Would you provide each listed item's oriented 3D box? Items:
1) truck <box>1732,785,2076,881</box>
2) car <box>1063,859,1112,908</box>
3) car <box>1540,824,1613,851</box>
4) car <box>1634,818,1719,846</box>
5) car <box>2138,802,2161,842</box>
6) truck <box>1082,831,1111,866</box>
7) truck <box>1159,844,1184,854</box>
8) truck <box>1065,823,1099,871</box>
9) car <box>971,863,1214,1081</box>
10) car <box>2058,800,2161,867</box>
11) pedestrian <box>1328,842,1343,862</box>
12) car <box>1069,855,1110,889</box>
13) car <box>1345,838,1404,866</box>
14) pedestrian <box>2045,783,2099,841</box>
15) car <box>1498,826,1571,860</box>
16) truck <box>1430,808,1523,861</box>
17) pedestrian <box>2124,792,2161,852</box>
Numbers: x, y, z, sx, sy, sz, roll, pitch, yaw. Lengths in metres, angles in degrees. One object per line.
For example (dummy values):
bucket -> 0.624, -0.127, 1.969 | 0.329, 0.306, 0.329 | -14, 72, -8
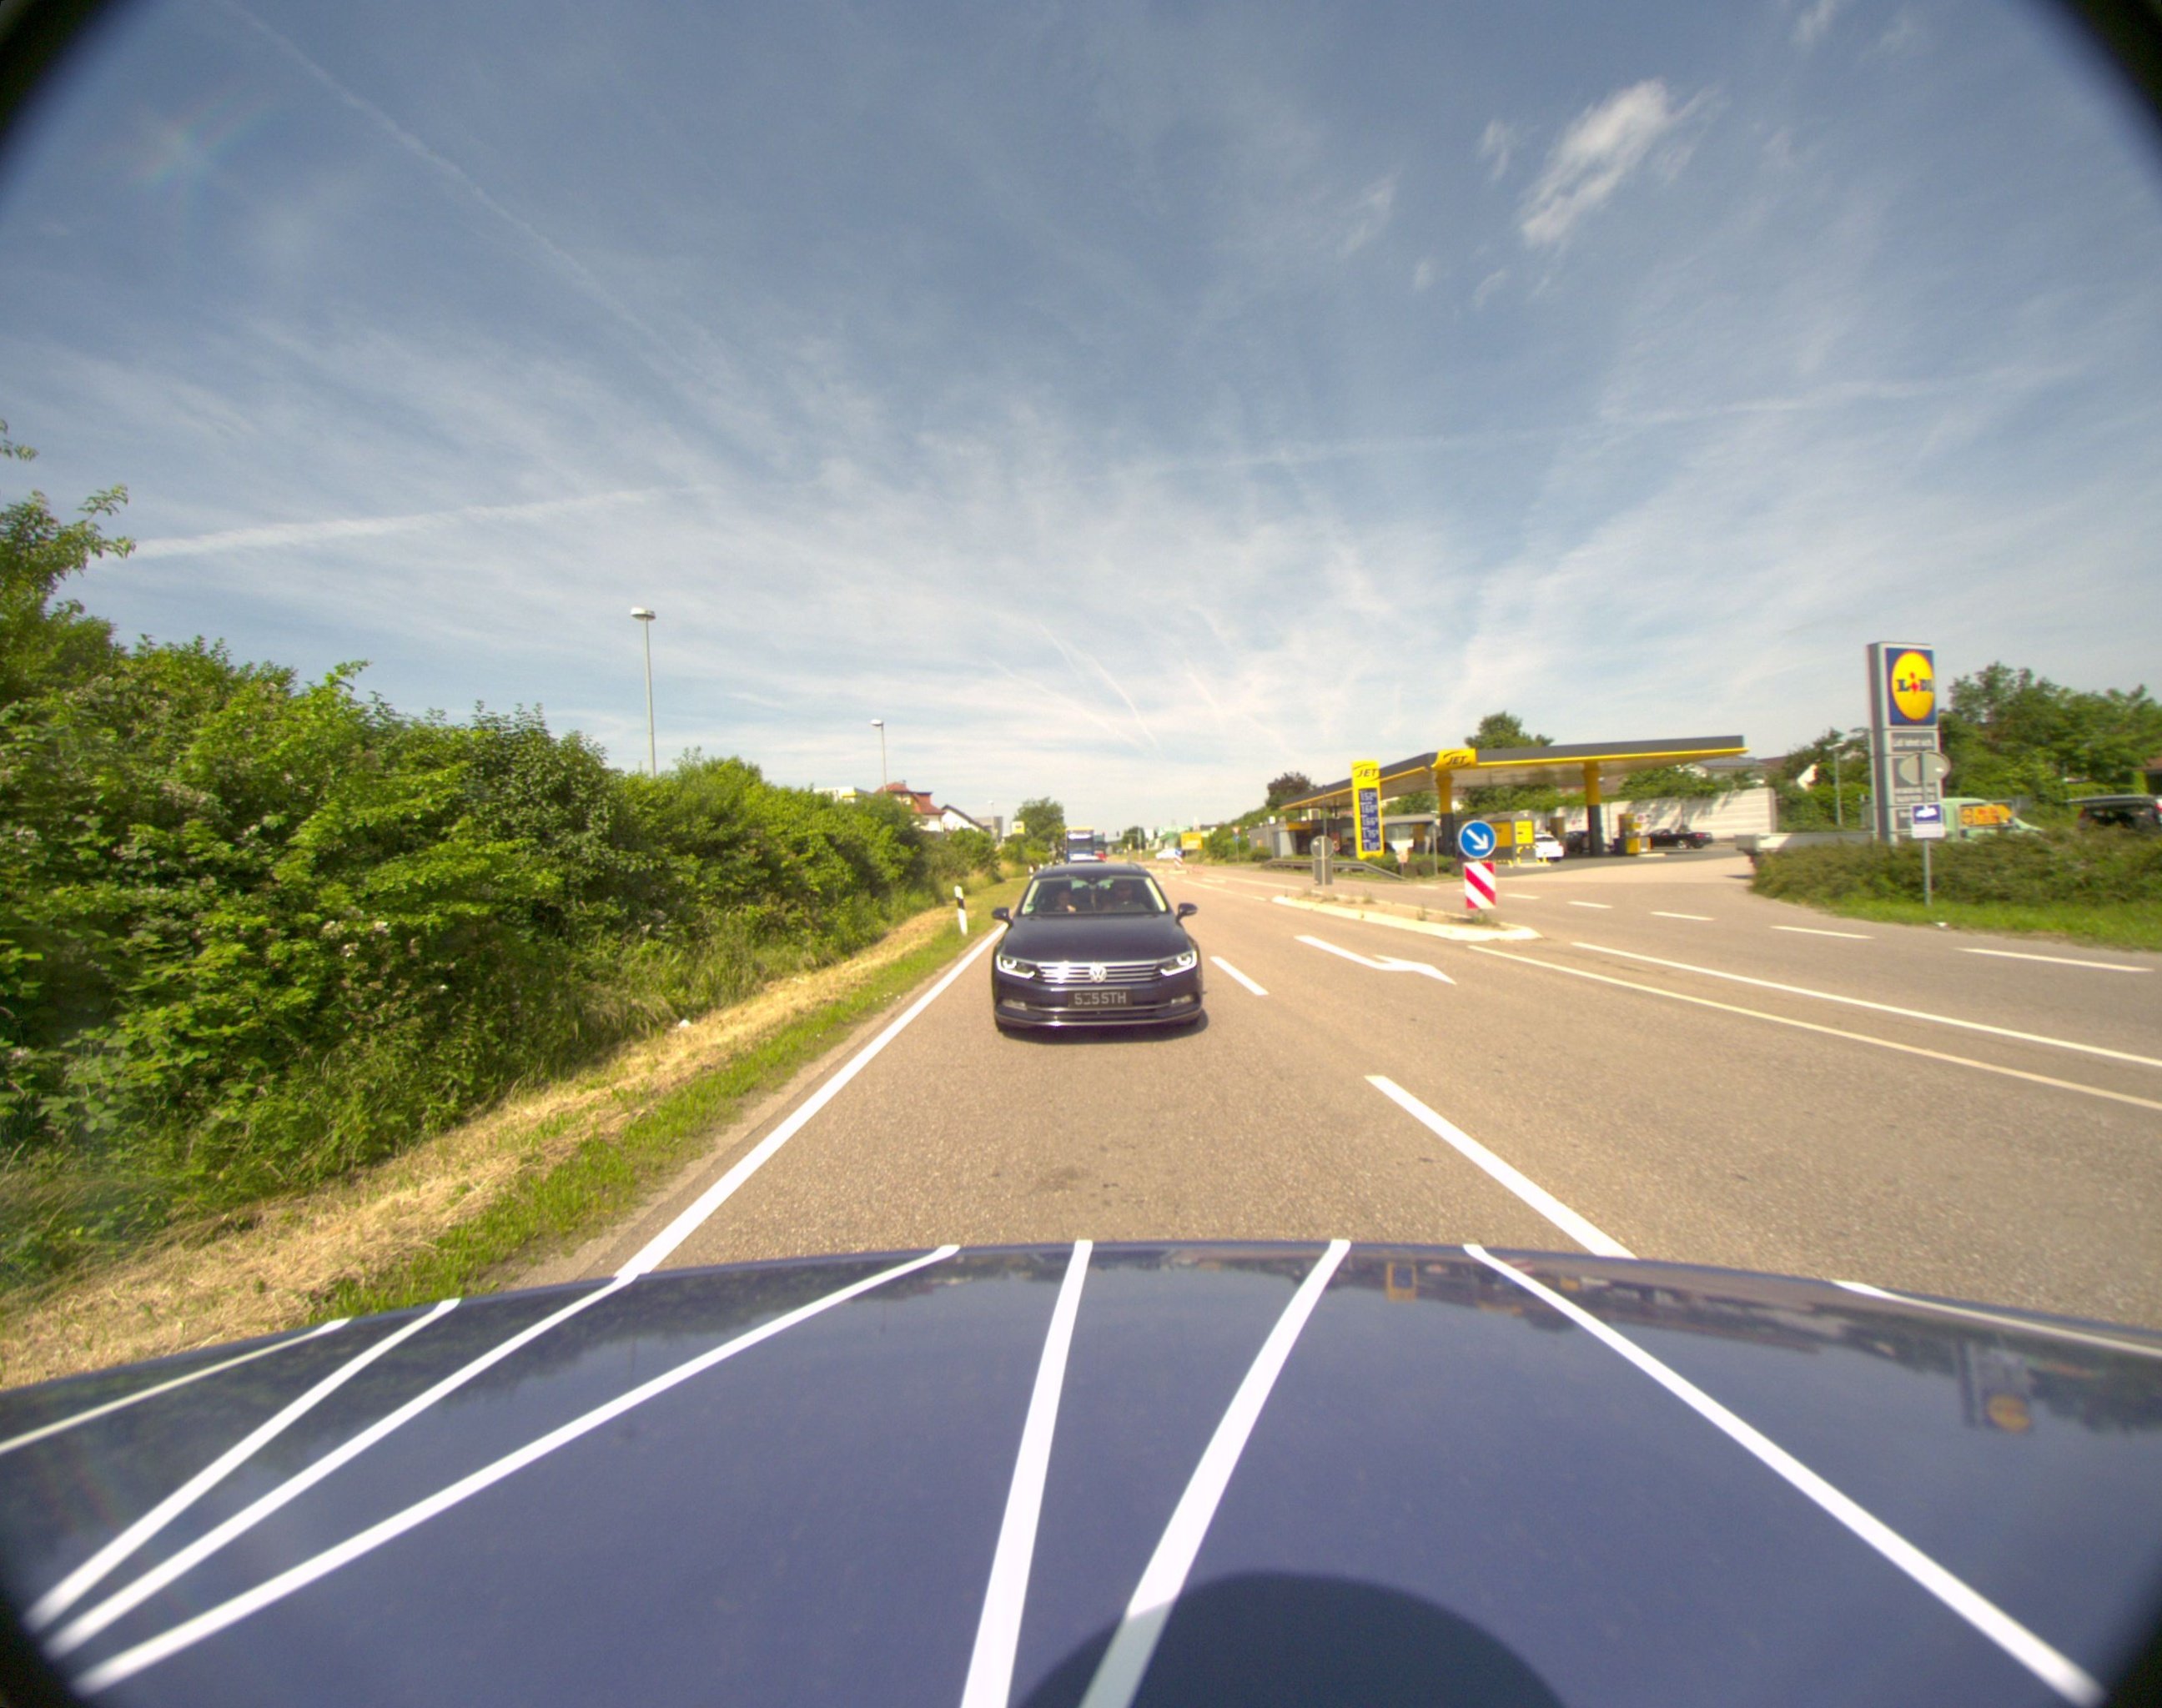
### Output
truck -> 23.314, -0.514, 22.028 | 6.334, 2.361, 2.253 | -2, 0, 26
car -> 0.239, 0.925, 25.551 | 1.471, 1.451, 3.797 | -2, 0, 1
car -> 32.225, -1.053, 49.523 | 1.753, 1.603, 3.873 | -2, 0, -10
car -> 37.601, -1.359, 48.061 | 1.754, 1.603, 3.871 | -2, 0, -17
car -> 44.698, -1.394, 29.967 | 3.999, 1.531, 1.769 | -3, 0, -7
truck -> 1.849, -0.682, 93.933 | 2.675, 3.897, 10.046 | -3, 0, -3
truck -> 19.234, -1.037, 161.725 | 4.772, 1.997, 1.999 | -3, 1, -4
truck -> 0.199, -0.634, 71.958 | 2.855, 3.999, 12.916 | -2, 0, 1
car -> 0.125, 0.913, 8.120 | 1.756, 1.493, 4.925 | -2, 0, 1
car -> 30.709, -0.640, 22.015 | 4.172, 1.801, 1.877 | -3, 1, -23
pedestrian -> 17.924, -0.143, 53.492 | 0.914, 1.419, 0.494 | -2, 1, 7
car -> 0.405, 0.814, 36.542 | 1.814, 1.466, 3.974 | -2, 0, 1
car -> 19.068, -0.098, 49.608 | 1.999, 1.696, 4.263 | -2, 0, -3
pedestrian -> 28.112, -1.183, 21.560 | 0.705, 1.566, 0.807 | -3, 2, -27
car -> 24.271, -0.541, 40.828 | 1.736, 1.718, 4.001 | -1, 0, 3
truck -> 23.881, -1.149, 46.221 | 2.250, 2.906, 6.282 | -2, 1, -1
pedestrian -> 28.745, -0.861, 20.379 | 0.705, 1.566, 0.807 | -3, 2, -27
